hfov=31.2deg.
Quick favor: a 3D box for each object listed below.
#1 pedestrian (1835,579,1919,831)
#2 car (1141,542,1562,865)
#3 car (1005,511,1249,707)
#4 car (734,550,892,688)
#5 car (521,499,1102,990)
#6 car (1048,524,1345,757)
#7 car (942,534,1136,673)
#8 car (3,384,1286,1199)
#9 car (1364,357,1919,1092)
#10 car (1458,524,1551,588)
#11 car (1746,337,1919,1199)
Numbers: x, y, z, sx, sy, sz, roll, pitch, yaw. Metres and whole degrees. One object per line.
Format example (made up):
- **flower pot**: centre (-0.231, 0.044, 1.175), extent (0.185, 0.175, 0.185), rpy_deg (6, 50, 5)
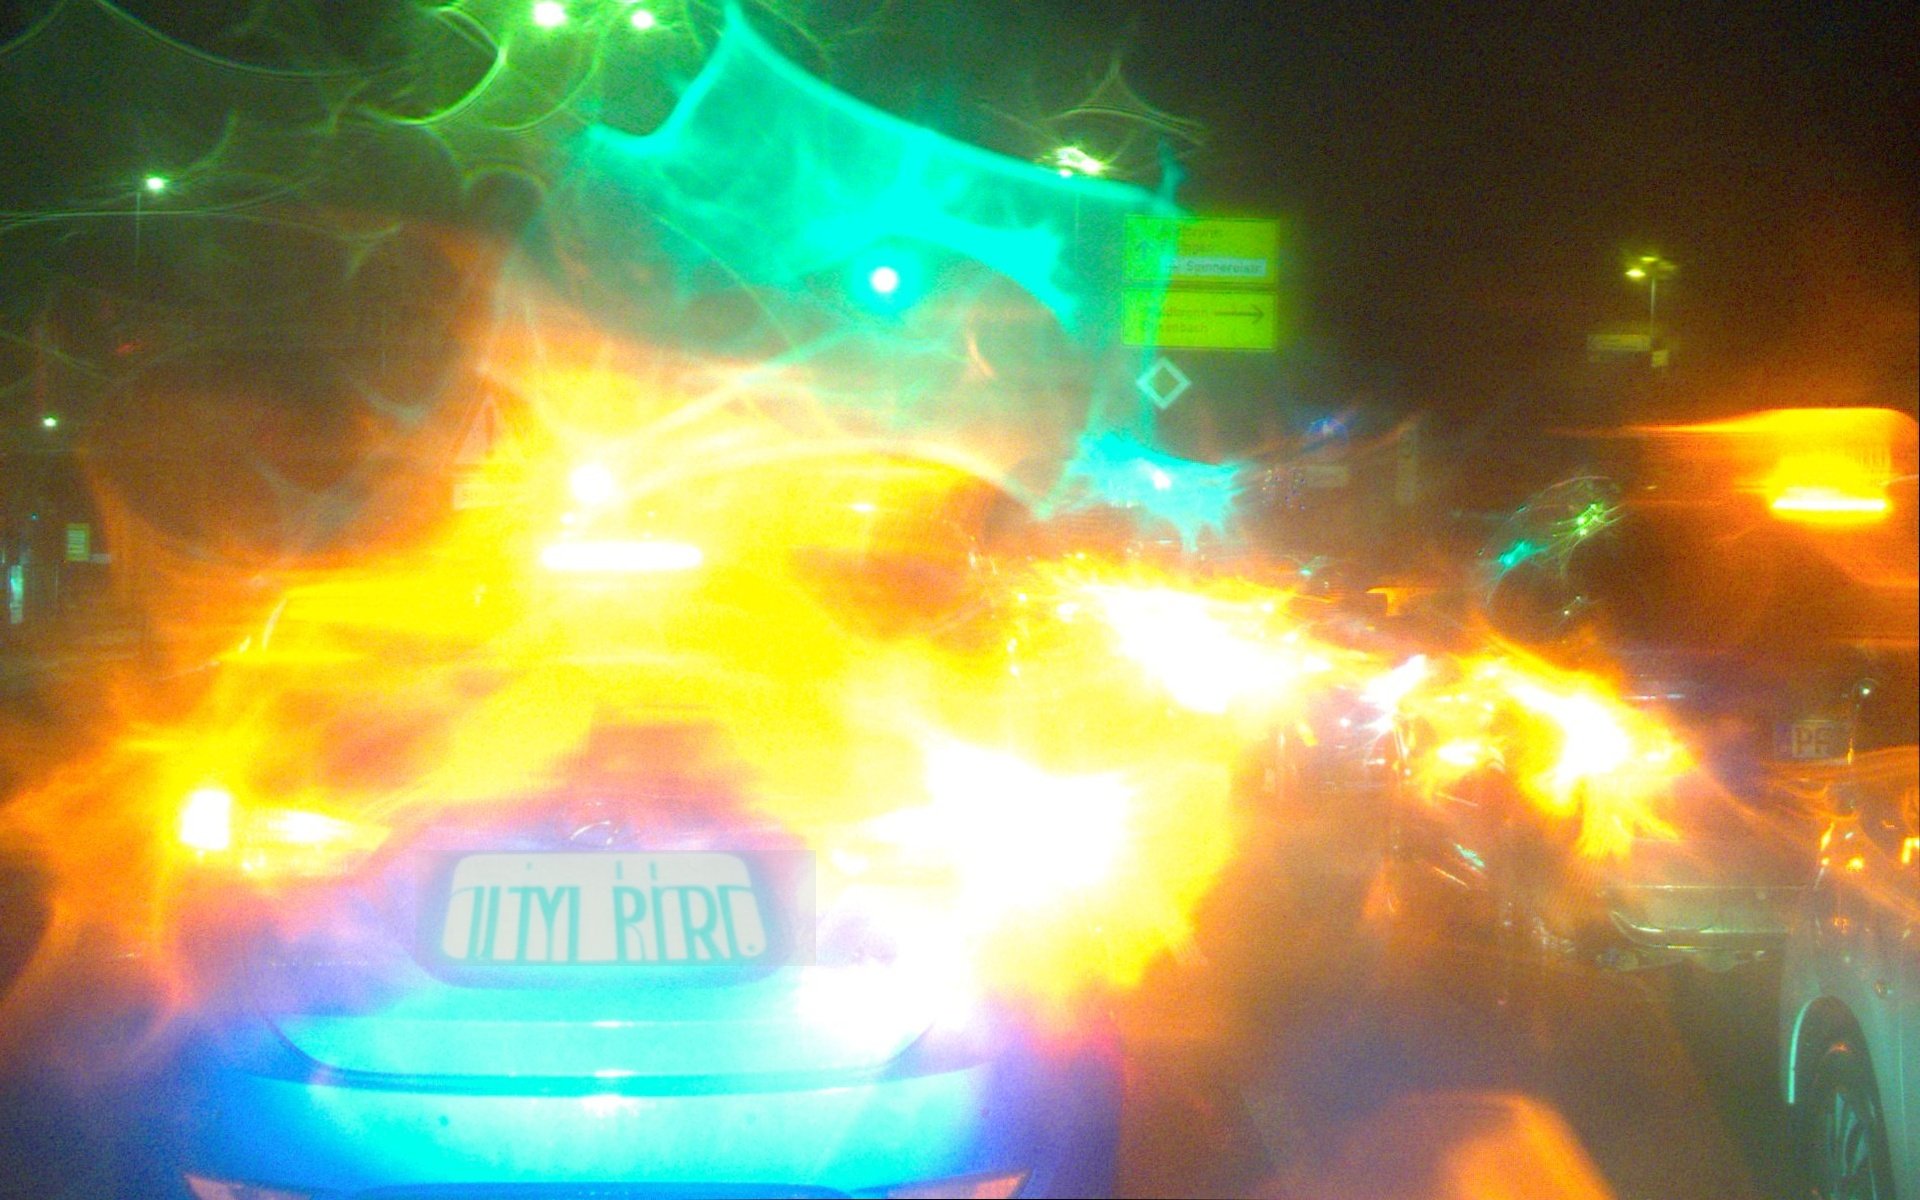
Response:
- **pedestrian**: centre (6.402, 0.711, 23.556), extent (0.622, 1.696, 0.541), rpy_deg (1, 0, -3)
- **car**: centre (2.217, 0.539, 20.558), extent (1.993, 1.712, 4.000), rpy_deg (1, 1, -1)
- **car**: centre (1.561, 0.063, 33.527), extent (1.993, 1.767, 4.000), rpy_deg (1, 1, -2)
- **car**: centre (-2.103, 0.235, 48.159), extent (1.993, 1.818, 4.001), rpy_deg (1, 1, -5)
- **car**: centre (-0.541, 0.485, 13.960), extent (1.993, 1.678, 4.000), rpy_deg (1, 1, -1)
- **car**: centre (1.777, 0.278, 27.058), extent (1.993, 1.664, 4.000), rpy_deg (1, 1, -1)
- **car**: centre (0.879, 0.021, 40.604), extent (1.857, 1.539, 3.931), rpy_deg (1, 1, -5)
- **car**: centre (-0.573, 0.508, 7.689), extent (2.014, 1.711, 4.452), rpy_deg (1, 1, -2)
- **car**: centre (2.620, 0.337, 11.606), extent (1.968, 2.040, 4.000), rpy_deg (1, 0, -1)
- **car**: centre (14.880, -1.197, 94.059), extent (1.865, 1.641, 3.963), rpy_deg (-2, 1, 0)
- **car**: centre (2.478, 0.528, 4.470), extent (1.851, 1.858, 4.341), rpy_deg (1, 1, -1)
